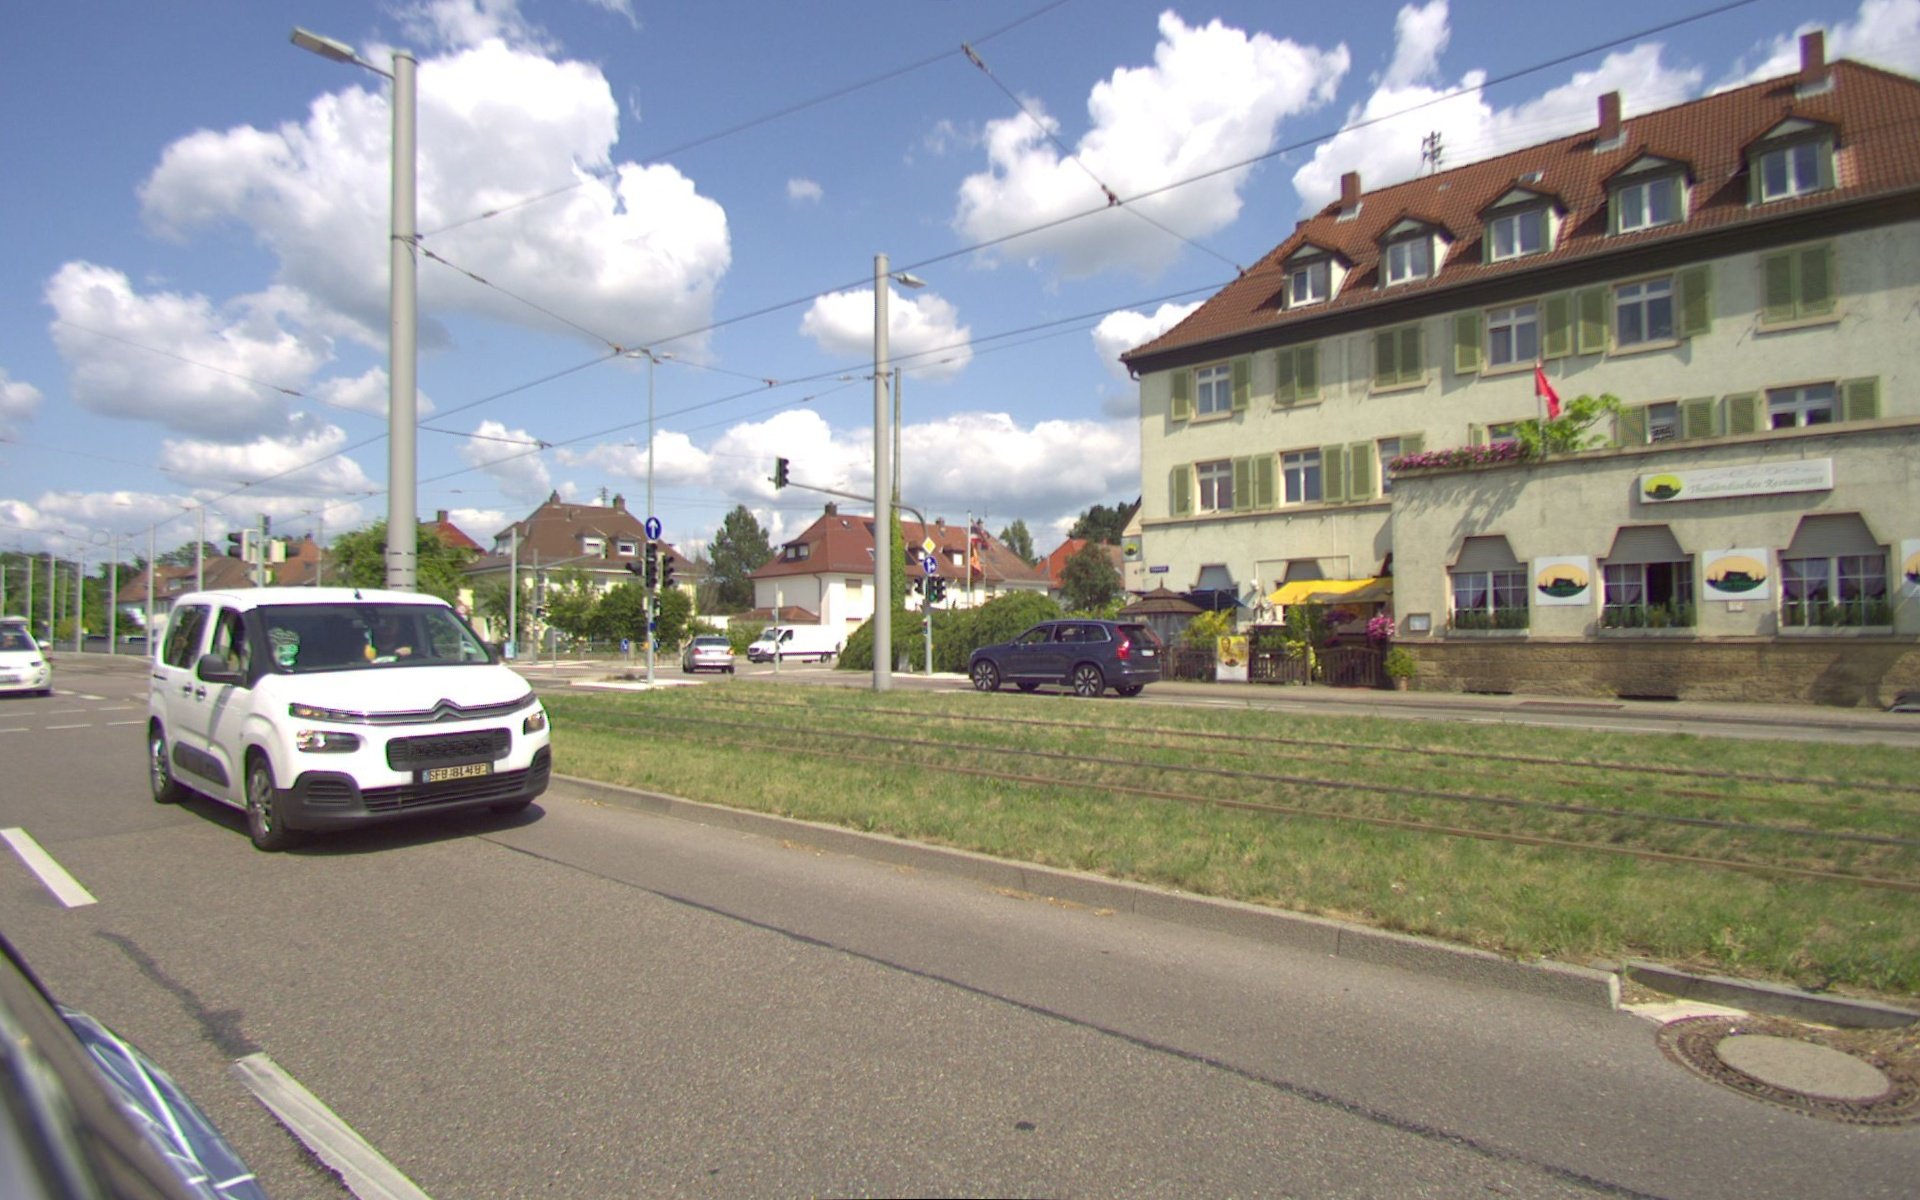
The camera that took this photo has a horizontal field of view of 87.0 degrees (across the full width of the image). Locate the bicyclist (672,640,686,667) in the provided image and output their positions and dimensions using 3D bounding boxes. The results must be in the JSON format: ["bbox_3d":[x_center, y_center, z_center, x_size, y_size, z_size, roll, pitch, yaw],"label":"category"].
[{"bbox_3d":[-15.893,3.035,57.222,0.602,1.509,0.494,-2,-1,42],"label":"bicyclist"}]

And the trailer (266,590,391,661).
[{"bbox_3d":[-38.049,1.714,60.689,12.829,3.851,2.572,-3,-6,41],"label":"trailer"}]

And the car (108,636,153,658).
[{"bbox_3d":[-65.432,3.699,79.830,4.175,1.564,1.973,-2,-6,41],"label":"car"}]

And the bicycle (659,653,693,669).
[{"bbox_3d":[-16.018,3.435,57.065,0.602,0.841,1.784,-2,-1,42],"label":"bicycle"}]

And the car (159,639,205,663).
[{"bbox_3d":[-54.149,3.520,70.408,4.470,1.649,1.775,-2,-3,43],"label":"car"}]

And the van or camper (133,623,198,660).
[{"bbox_3d":[-66.089,3.396,84.116,7.741,2.952,2.302,-2,-2,37],"label":"van or camper"}]

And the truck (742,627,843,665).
[{"bbox_3d":[-9.744,2.646,59.357,1.690,1.936,6.117,-2,-1,43],"label":"truck"}]

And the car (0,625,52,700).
[{"bbox_3d":[-21.092,1.346,21.819,3.388,1.515,1.660,-2,-1,37],"label":"car"}]

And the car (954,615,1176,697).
[{"bbox_3d":[2.379,1.273,23.735,4.932,1.725,1.994,-2,-3,40],"label":"car"}]

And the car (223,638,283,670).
[{"bbox_3d":[-42.383,3.215,60.663,4.709,1.829,1.776,-2,-3,40],"label":"car"}]

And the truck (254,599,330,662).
[{"bbox_3d":[-42.909,2.050,64.952,5.664,3.851,2.571,-3,-6,41],"label":"truck"}]

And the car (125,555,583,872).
[{"bbox_3d":[-4.907,0.694,7.921,4.326,1.829,1.776,-2,-1,40],"label":"car"}]

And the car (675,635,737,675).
[{"bbox_3d":[-9.713,2.064,38.468,1.769,1.398,4.485,1,-3,-21],"label":"car"}]

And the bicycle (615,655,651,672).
[{"bbox_3d":[-17.791,3.449,55.074,0.602,0.841,1.784,-2,-1,42],"label":"bicycle"}]

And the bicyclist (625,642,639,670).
[{"bbox_3d":[-17.835,3.051,55.035,0.602,1.509,0.494,-2,-1,42],"label":"bicyclist"}]
